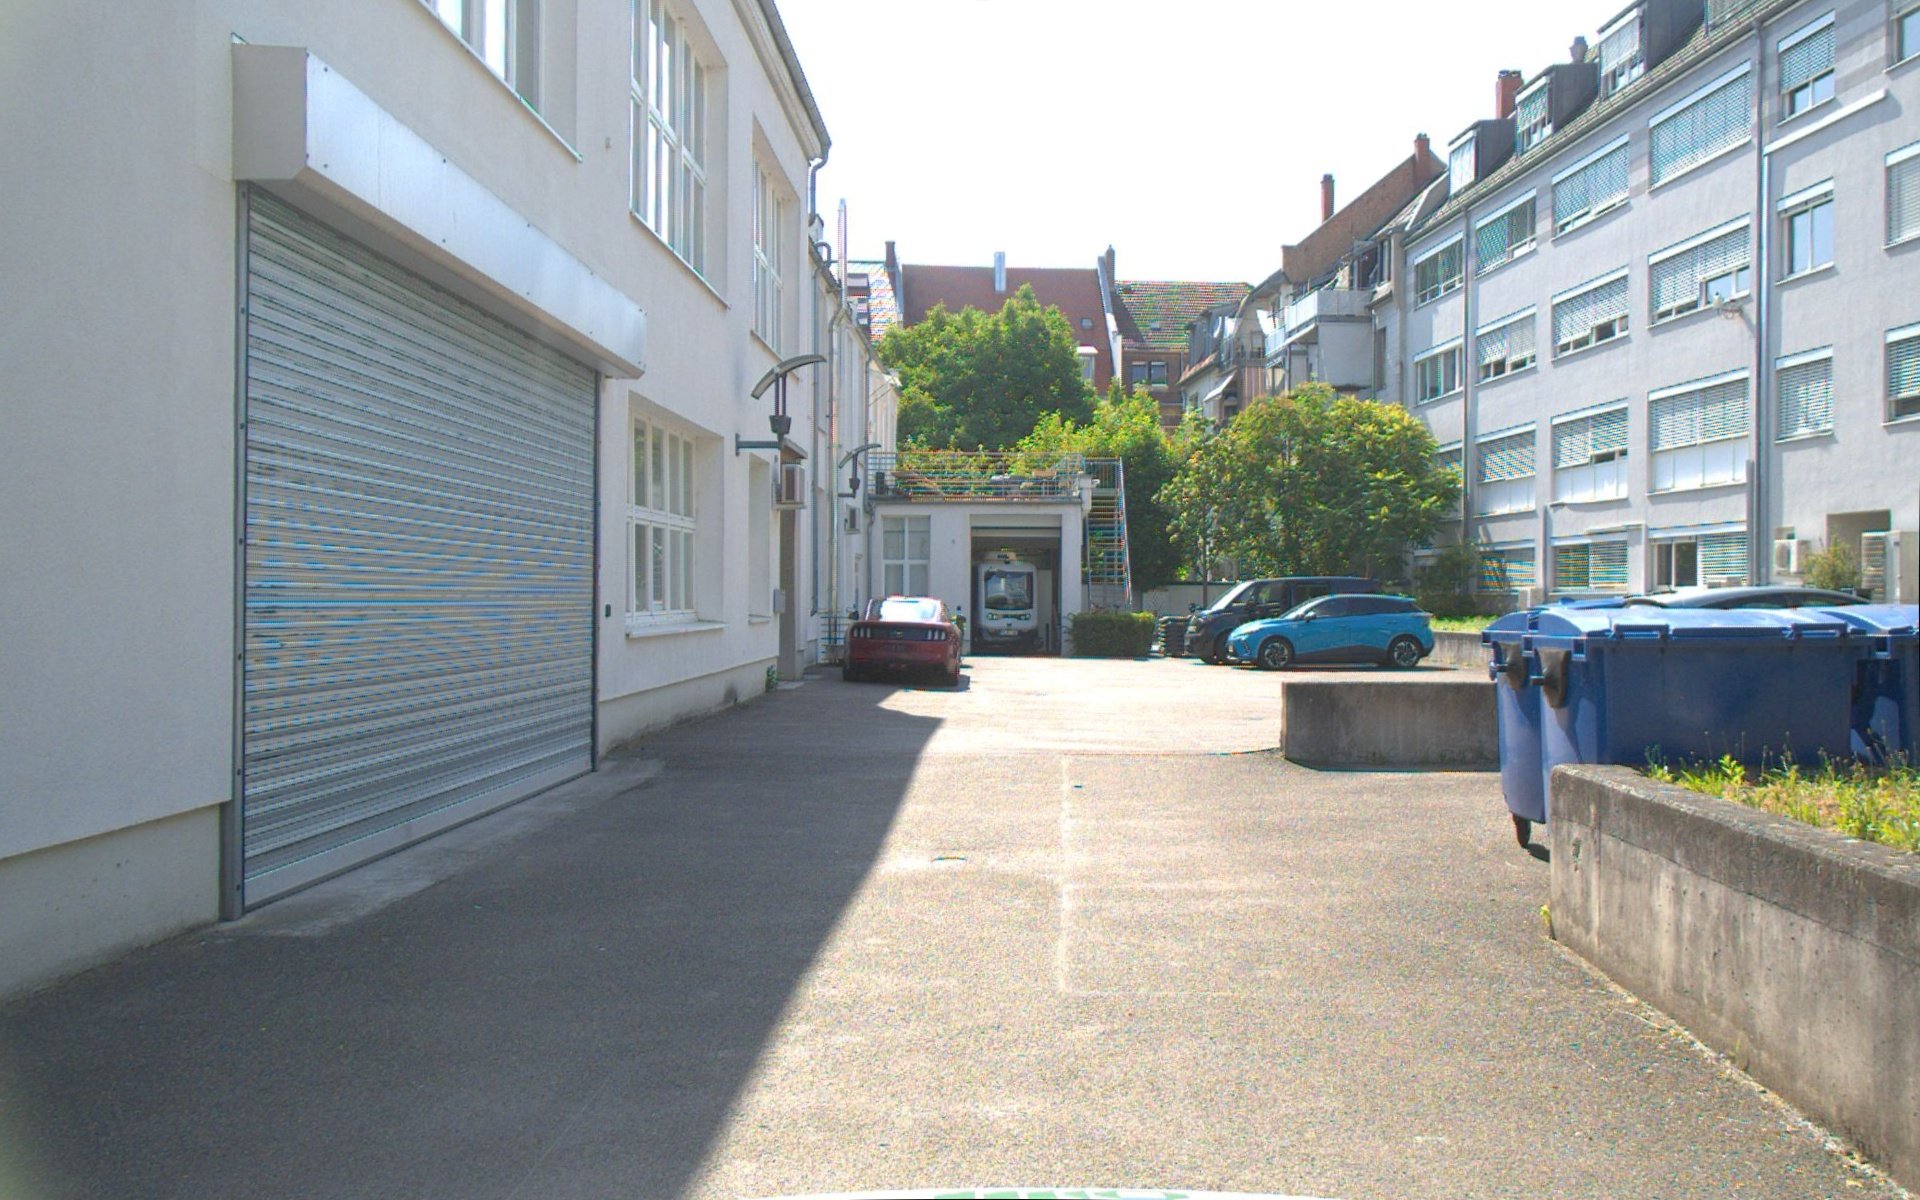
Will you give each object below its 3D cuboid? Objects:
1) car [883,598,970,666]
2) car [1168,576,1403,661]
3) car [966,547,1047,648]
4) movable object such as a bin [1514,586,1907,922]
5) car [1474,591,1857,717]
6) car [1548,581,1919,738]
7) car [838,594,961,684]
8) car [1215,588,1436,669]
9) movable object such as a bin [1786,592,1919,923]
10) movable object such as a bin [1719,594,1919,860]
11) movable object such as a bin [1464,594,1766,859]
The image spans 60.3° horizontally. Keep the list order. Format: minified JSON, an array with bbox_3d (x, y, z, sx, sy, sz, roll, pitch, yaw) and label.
[{"bbox_3d":[-0.660,0.638,34.735,1.580,1.318,3.760,-1,0,2],"label":"car"},{"bbox_3d":[7.403,0.380,37.847,4.862,1.798,2.091,-1,1,-11],"label":"car"},{"bbox_3d":[1.364,-0.037,47.615,2.129,2.652,6.736,-1,-1,2],"label":"car"},{"bbox_3d":[3.278,0.648,7.388,1.221,1.342,1.143,-2,-2,4],"label":"movable object such as a bin"},{"bbox_3d":[8.411,0.625,19.966,3.904,1.418,1.689,-1,0,1],"label":"car"},{"bbox_3d":[8.175,0.555,16.575,3.906,1.452,1.811,-1,0,-1],"label":"car"},{"bbox_3d":[-0.952,0.603,27.845,1.814,1.342,4.001,2,0,1],"label":"car"},{"bbox_3d":[7.578,0.563,34.587,4.143,1.559,2.000,-1,1,-2],"label":"car"},{"bbox_3d":[4.550,0.646,7.356,1.221,1.364,1.143,0,0,5],"label":"movable object such as a bin"},{"bbox_3d":[5.003,0.650,9.082,1.132,1.360,1.142,0,0,-1],"label":"movable object such as a bin"},{"bbox_3d":[3.609,0.660,9.242,1.222,1.379,1.128,0,0,-1],"label":"movable object such as a bin"}]
